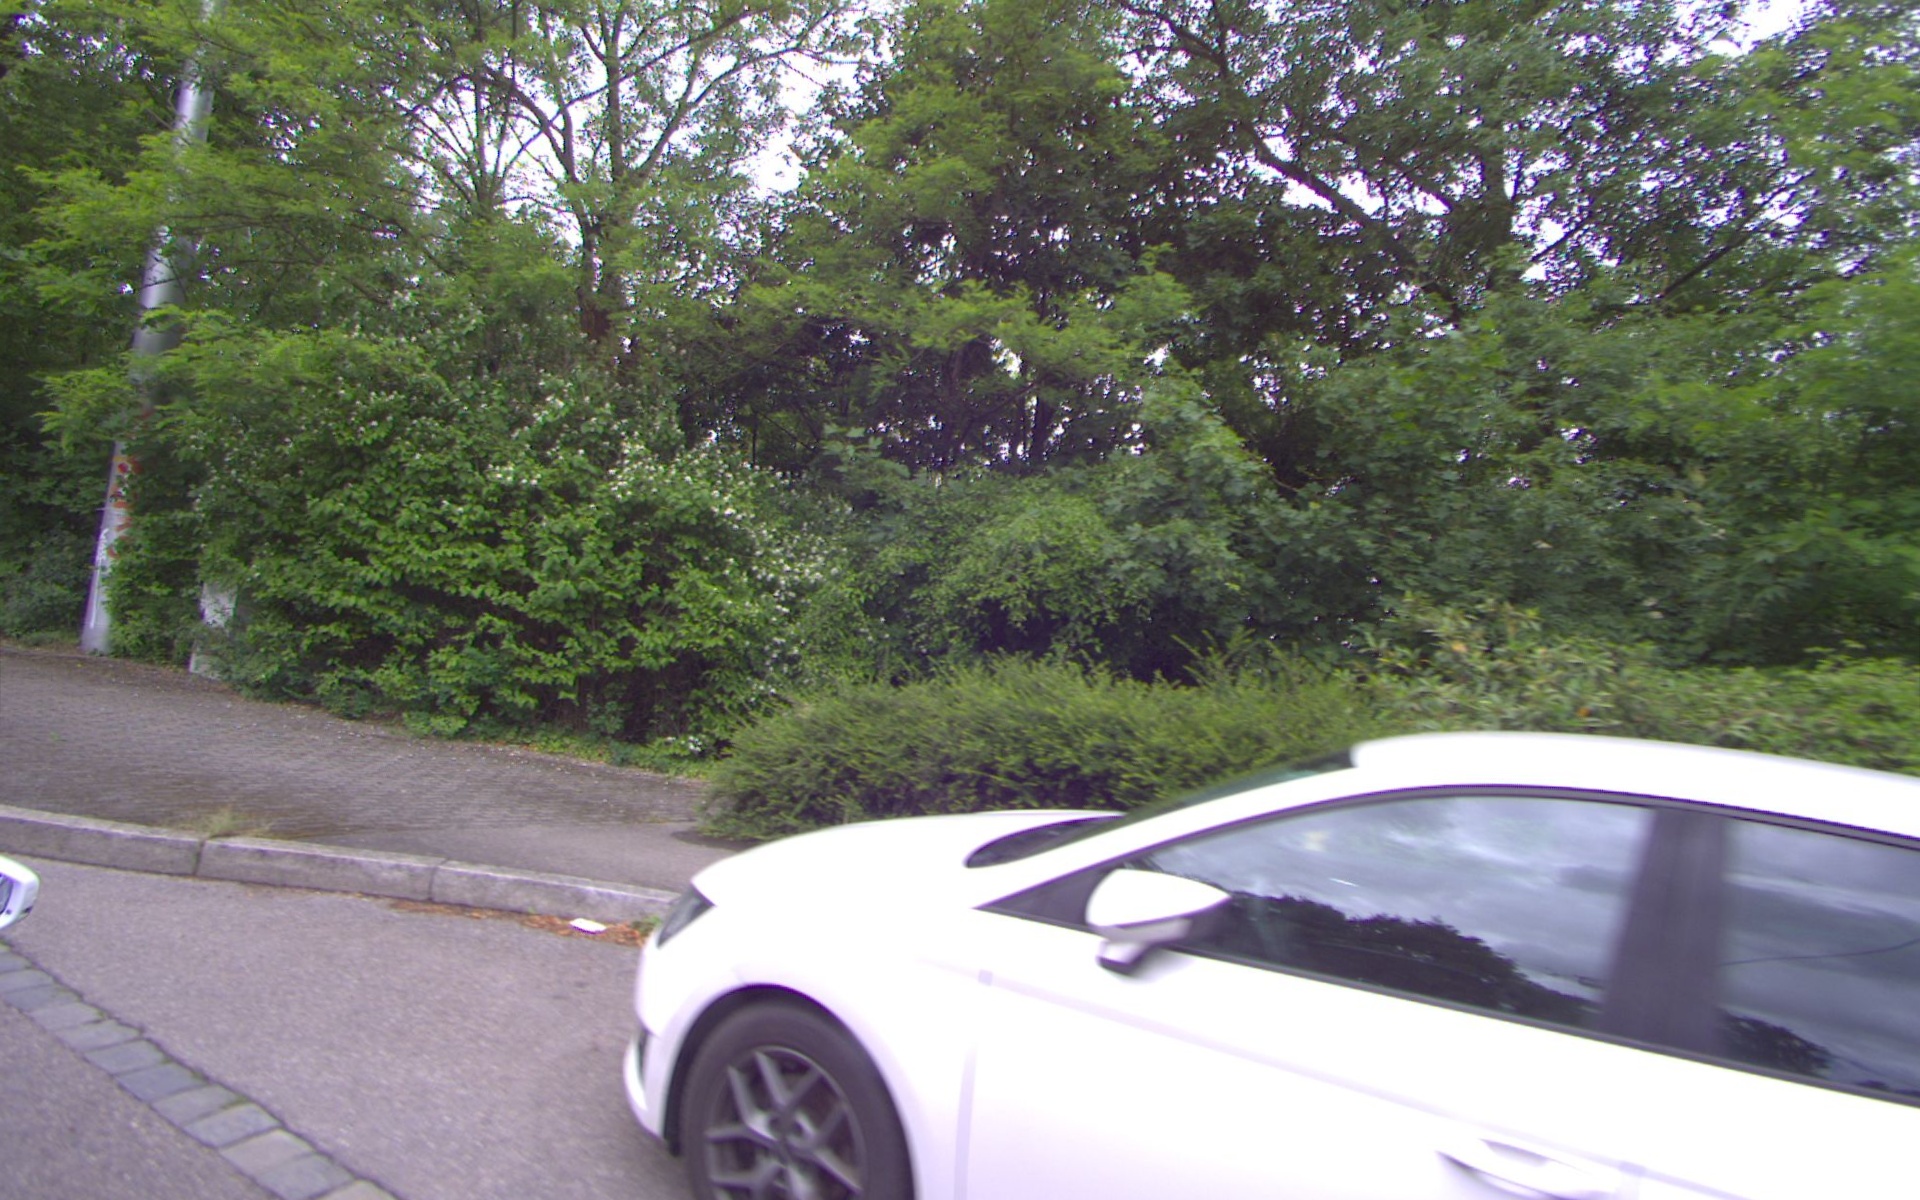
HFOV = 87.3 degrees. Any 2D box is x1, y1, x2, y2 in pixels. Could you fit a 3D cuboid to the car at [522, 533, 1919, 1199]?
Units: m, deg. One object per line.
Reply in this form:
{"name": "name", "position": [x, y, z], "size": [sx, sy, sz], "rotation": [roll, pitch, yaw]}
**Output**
{"name": "car", "position": [1.399, 0.940, 2.143], "size": [4.621, 1.499, 1.738], "rotation": [8, -2, 30]}
